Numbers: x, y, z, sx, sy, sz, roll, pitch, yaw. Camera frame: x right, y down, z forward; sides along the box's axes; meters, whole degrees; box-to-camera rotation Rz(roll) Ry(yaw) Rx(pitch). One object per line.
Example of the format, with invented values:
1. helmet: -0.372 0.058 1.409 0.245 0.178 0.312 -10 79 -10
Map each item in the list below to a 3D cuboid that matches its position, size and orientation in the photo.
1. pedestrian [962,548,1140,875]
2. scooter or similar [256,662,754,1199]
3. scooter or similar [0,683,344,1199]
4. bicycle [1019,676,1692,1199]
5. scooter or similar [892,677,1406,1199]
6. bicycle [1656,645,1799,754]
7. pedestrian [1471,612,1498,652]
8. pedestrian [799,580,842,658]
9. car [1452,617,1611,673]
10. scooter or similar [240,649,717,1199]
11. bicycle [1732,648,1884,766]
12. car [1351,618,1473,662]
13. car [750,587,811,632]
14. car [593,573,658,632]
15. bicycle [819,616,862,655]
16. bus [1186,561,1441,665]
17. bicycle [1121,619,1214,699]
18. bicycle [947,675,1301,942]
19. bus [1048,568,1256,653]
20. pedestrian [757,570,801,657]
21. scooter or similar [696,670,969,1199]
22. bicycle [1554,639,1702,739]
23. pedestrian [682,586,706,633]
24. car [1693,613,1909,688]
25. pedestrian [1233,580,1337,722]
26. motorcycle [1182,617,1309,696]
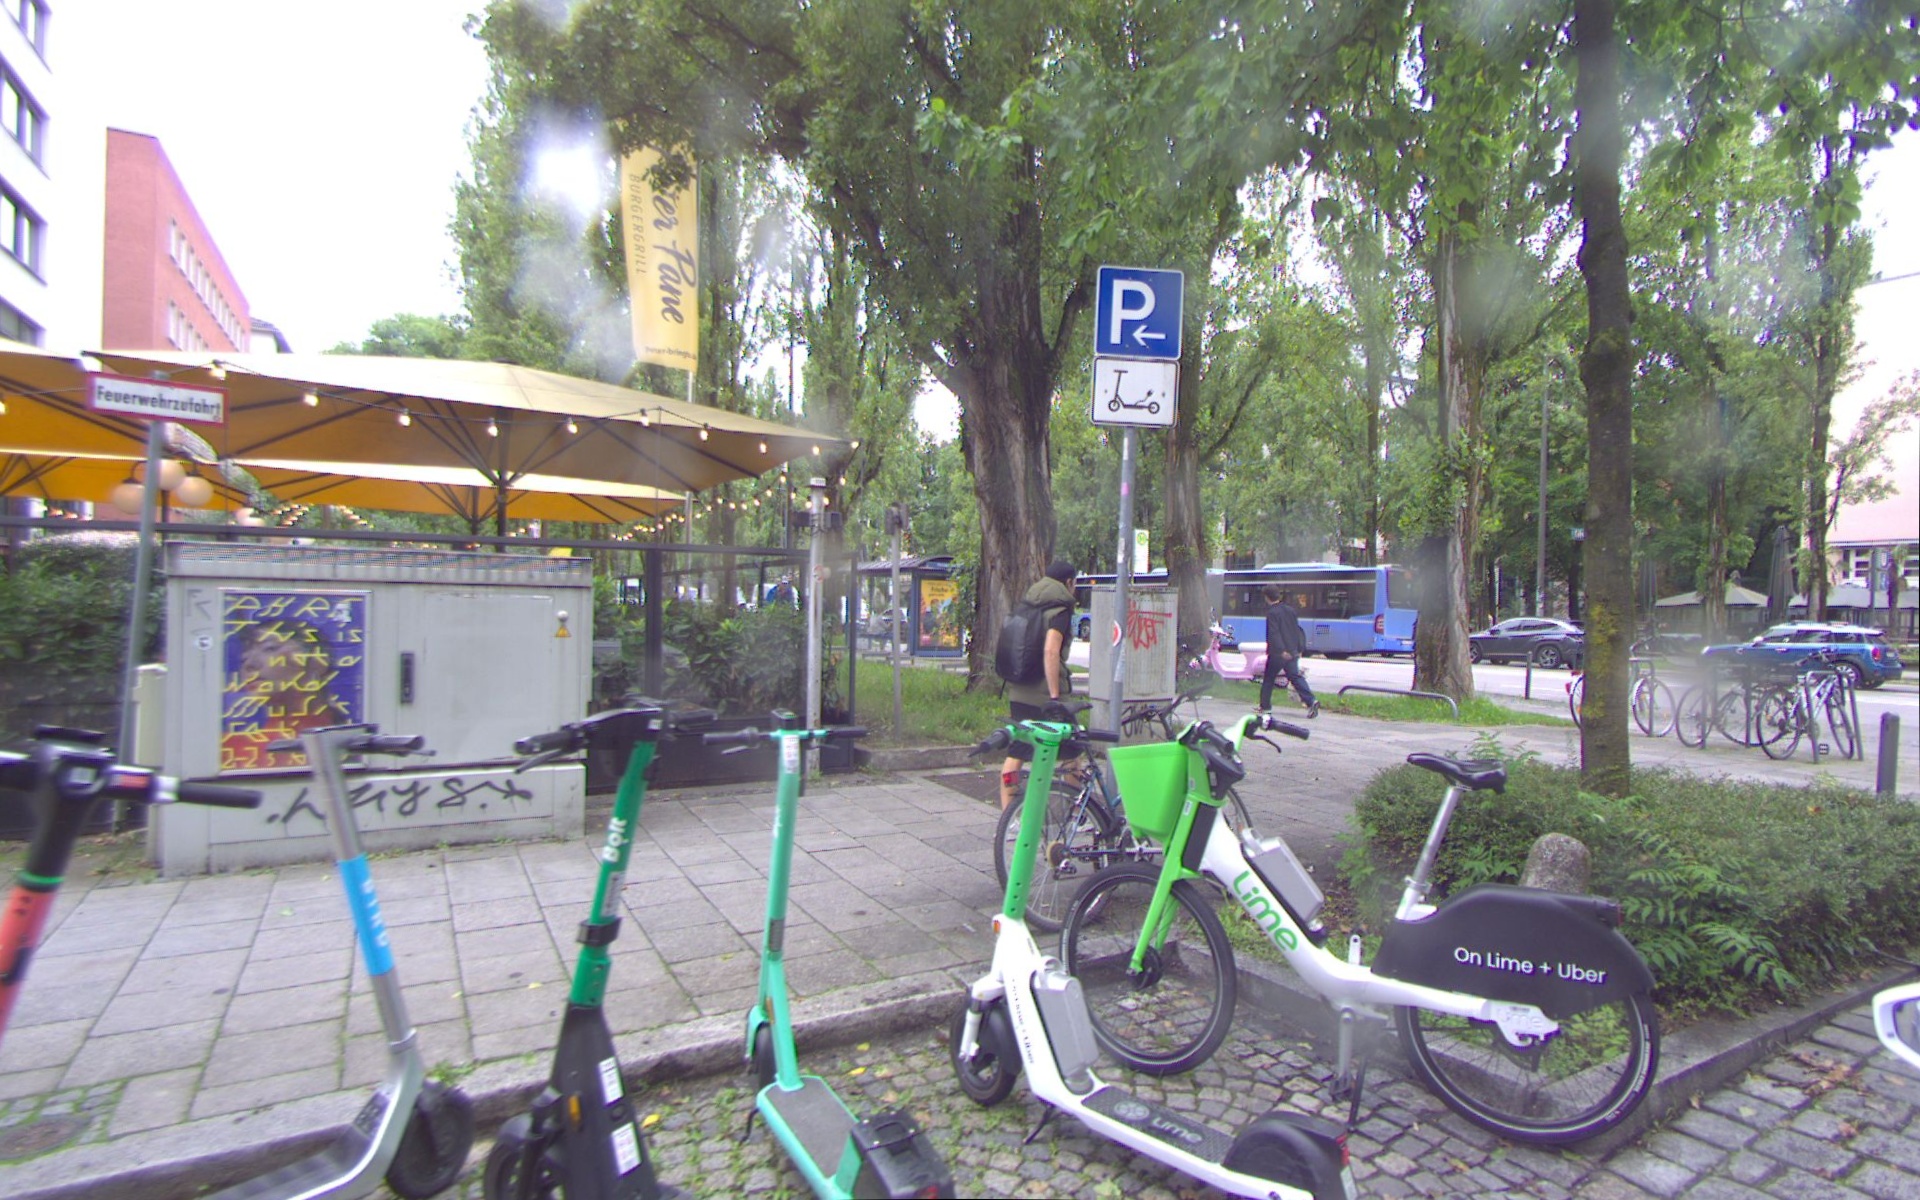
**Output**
1. pedestrian: 0.526 0.604 5.995 0.697 1.796 0.746 1 2 -30
2. scooter or similar: -1.134 0.800 2.752 0.383 1.195 1.249 1 0 28
3. scooter or similar: -1.831 0.802 1.751 1.330 1.290 0.328 1 0 4
4. bicycle: 1.086 0.872 3.027 1.731 1.158 0.553 1 0 30
5. scooter or similar: 0.469 0.854 2.873 1.407 1.159 0.368 2 0 37
6. bicycle: 8.366 1.053 10.935 1.679 1.108 0.489 1 0 -25
7. pedestrian: 23.049 1.387 44.154 0.700 1.736 0.726 1 0 -28
8. pedestrian: -3.160 0.426 22.784 0.635 1.750 0.701 1 0 37
9. car: 18.560 1.419 32.802 1.771 1.622 4.205 1 0 -28
10. scooter or similar: -1.132 0.785 2.277 1.229 1.290 0.327 1 0 30
11. bicycle: 8.595 1.053 10.170 1.679 1.108 0.489 1 0 -25
12. car: 16.838 1.461 37.569 1.772 1.431 3.852 1 0 -29
13. car: -11.429 0.577 63.653 2.021 2.687 5.996 0 0 -28
14. car: -18.651 0.141 55.820 2.175 3.057 5.950 1 0 -30
15. bicycle: -3.900 1.137 32.684 0.576 1.204 2.124 1 0 -30
16. bus: 11.670 0.425 34.255 2.891 3.092 8.453 1 -1 -29
17. bicycle: 3.365 0.930 16.433 0.576 1.204 1.603 1 0 -29
18. bicycle: 0.830 0.918 4.856 1.743 1.036 0.549 1 0 -32
19. bus: 7.590 0.425 41.633 2.892 3.092 9.720 1 -1 -29
20. pedestrian: -4.105 0.293 22.804 0.635 1.933 0.701 1 0 37
21. scooter or similar: -0.424 0.822 2.840 0.323 1.159 1.242 1 0 -28
22. bicycle: 7.914 1.026 11.873 1.956 1.108 0.489 1 0 -25
23. pedestrian: -9.800 0.345 37.038 0.726 1.715 0.643 1 0 -25
24. car: 22.277 1.293 26.765 1.773 1.754 4.046 3 -1 -30
25. pedestrian: 4.176 0.637 12.942 0.848 1.734 0.951 1 -1 -31
26. motorcycle: 4.673 0.911 16.497 1.951 1.212 0.630 1 0 17
